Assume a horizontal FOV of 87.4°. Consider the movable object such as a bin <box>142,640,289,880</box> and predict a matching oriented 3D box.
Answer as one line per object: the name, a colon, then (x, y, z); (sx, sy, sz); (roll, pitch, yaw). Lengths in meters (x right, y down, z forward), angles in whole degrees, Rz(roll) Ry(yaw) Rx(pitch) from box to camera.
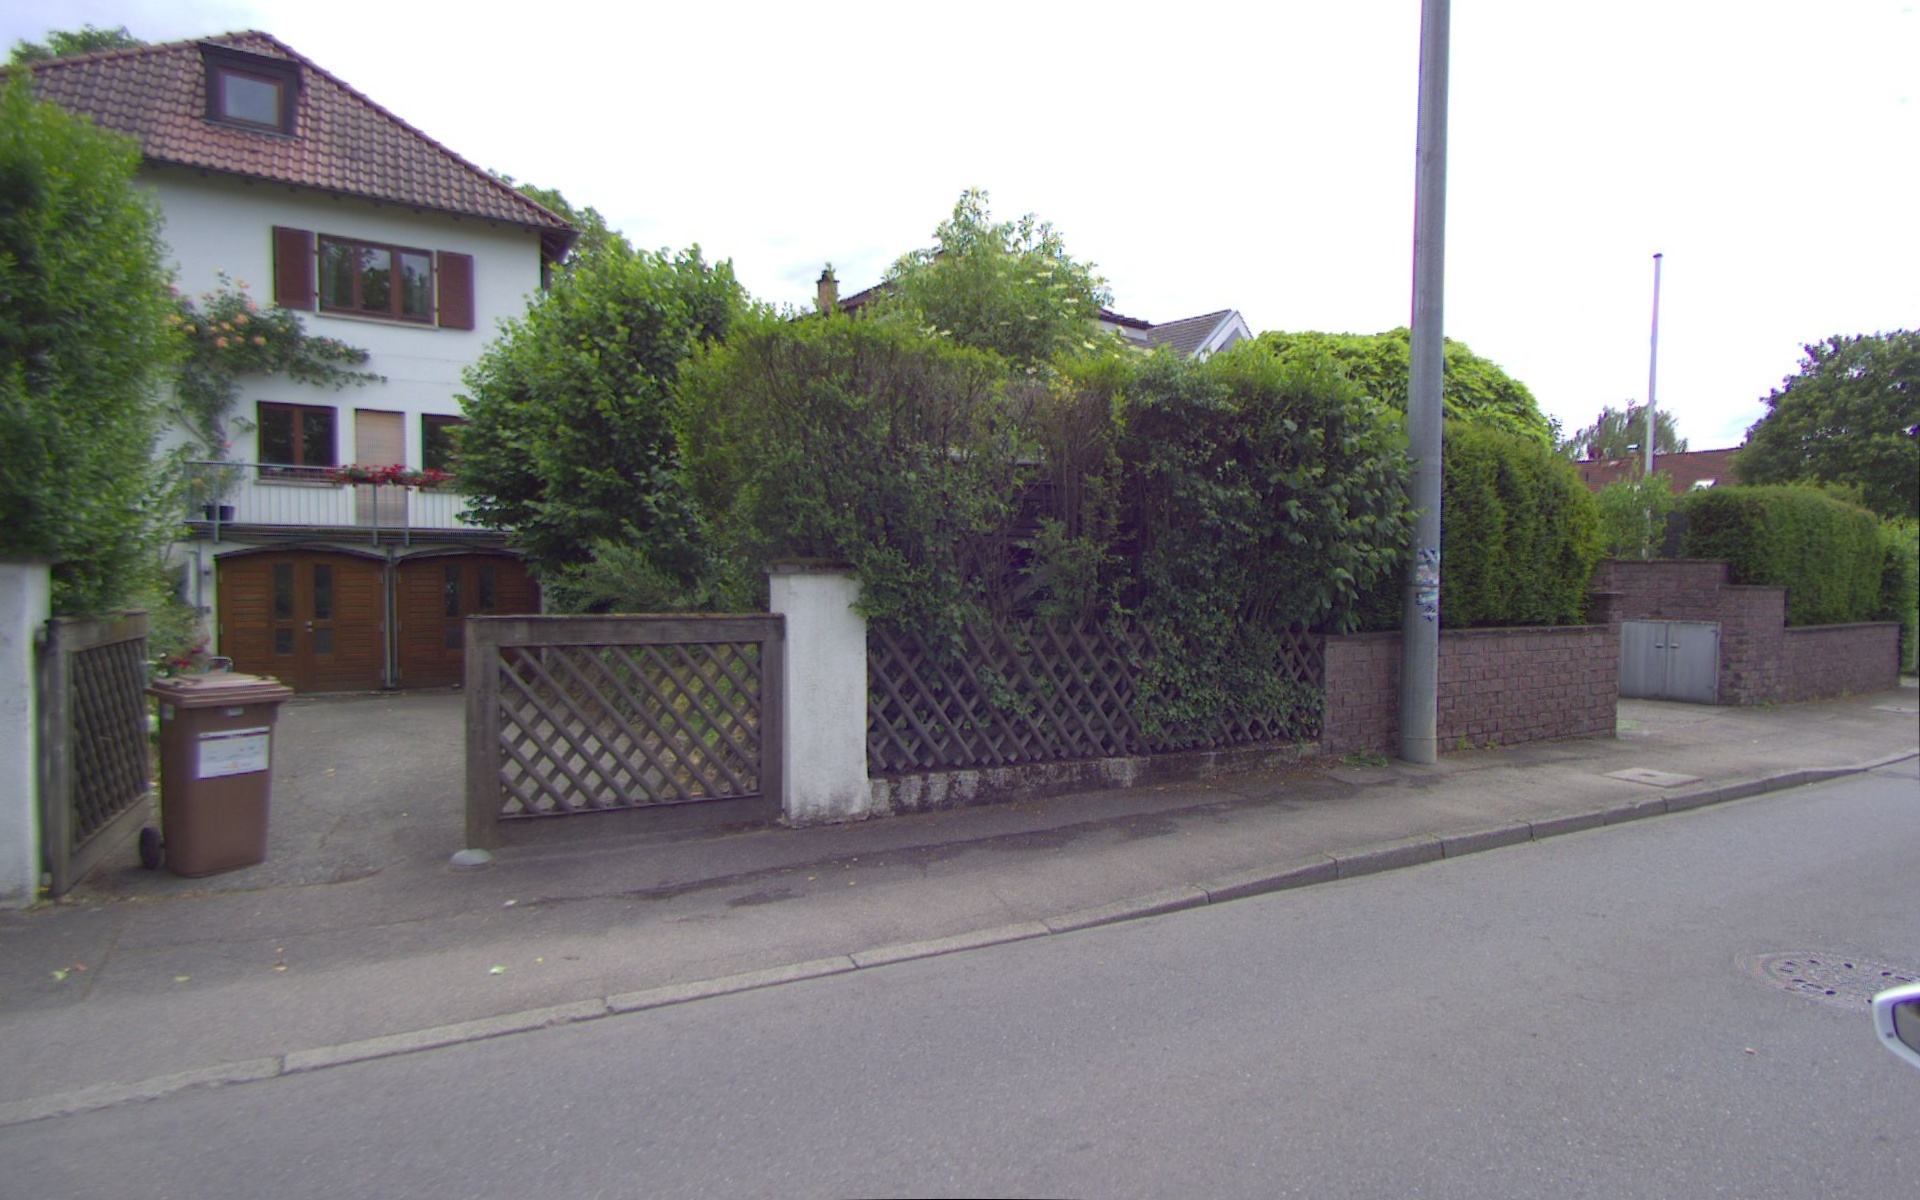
movable object such as a bin: (-3.644, 0.750, 4.923); (0.442, 1.045, 0.497); (4, 5, 43)
